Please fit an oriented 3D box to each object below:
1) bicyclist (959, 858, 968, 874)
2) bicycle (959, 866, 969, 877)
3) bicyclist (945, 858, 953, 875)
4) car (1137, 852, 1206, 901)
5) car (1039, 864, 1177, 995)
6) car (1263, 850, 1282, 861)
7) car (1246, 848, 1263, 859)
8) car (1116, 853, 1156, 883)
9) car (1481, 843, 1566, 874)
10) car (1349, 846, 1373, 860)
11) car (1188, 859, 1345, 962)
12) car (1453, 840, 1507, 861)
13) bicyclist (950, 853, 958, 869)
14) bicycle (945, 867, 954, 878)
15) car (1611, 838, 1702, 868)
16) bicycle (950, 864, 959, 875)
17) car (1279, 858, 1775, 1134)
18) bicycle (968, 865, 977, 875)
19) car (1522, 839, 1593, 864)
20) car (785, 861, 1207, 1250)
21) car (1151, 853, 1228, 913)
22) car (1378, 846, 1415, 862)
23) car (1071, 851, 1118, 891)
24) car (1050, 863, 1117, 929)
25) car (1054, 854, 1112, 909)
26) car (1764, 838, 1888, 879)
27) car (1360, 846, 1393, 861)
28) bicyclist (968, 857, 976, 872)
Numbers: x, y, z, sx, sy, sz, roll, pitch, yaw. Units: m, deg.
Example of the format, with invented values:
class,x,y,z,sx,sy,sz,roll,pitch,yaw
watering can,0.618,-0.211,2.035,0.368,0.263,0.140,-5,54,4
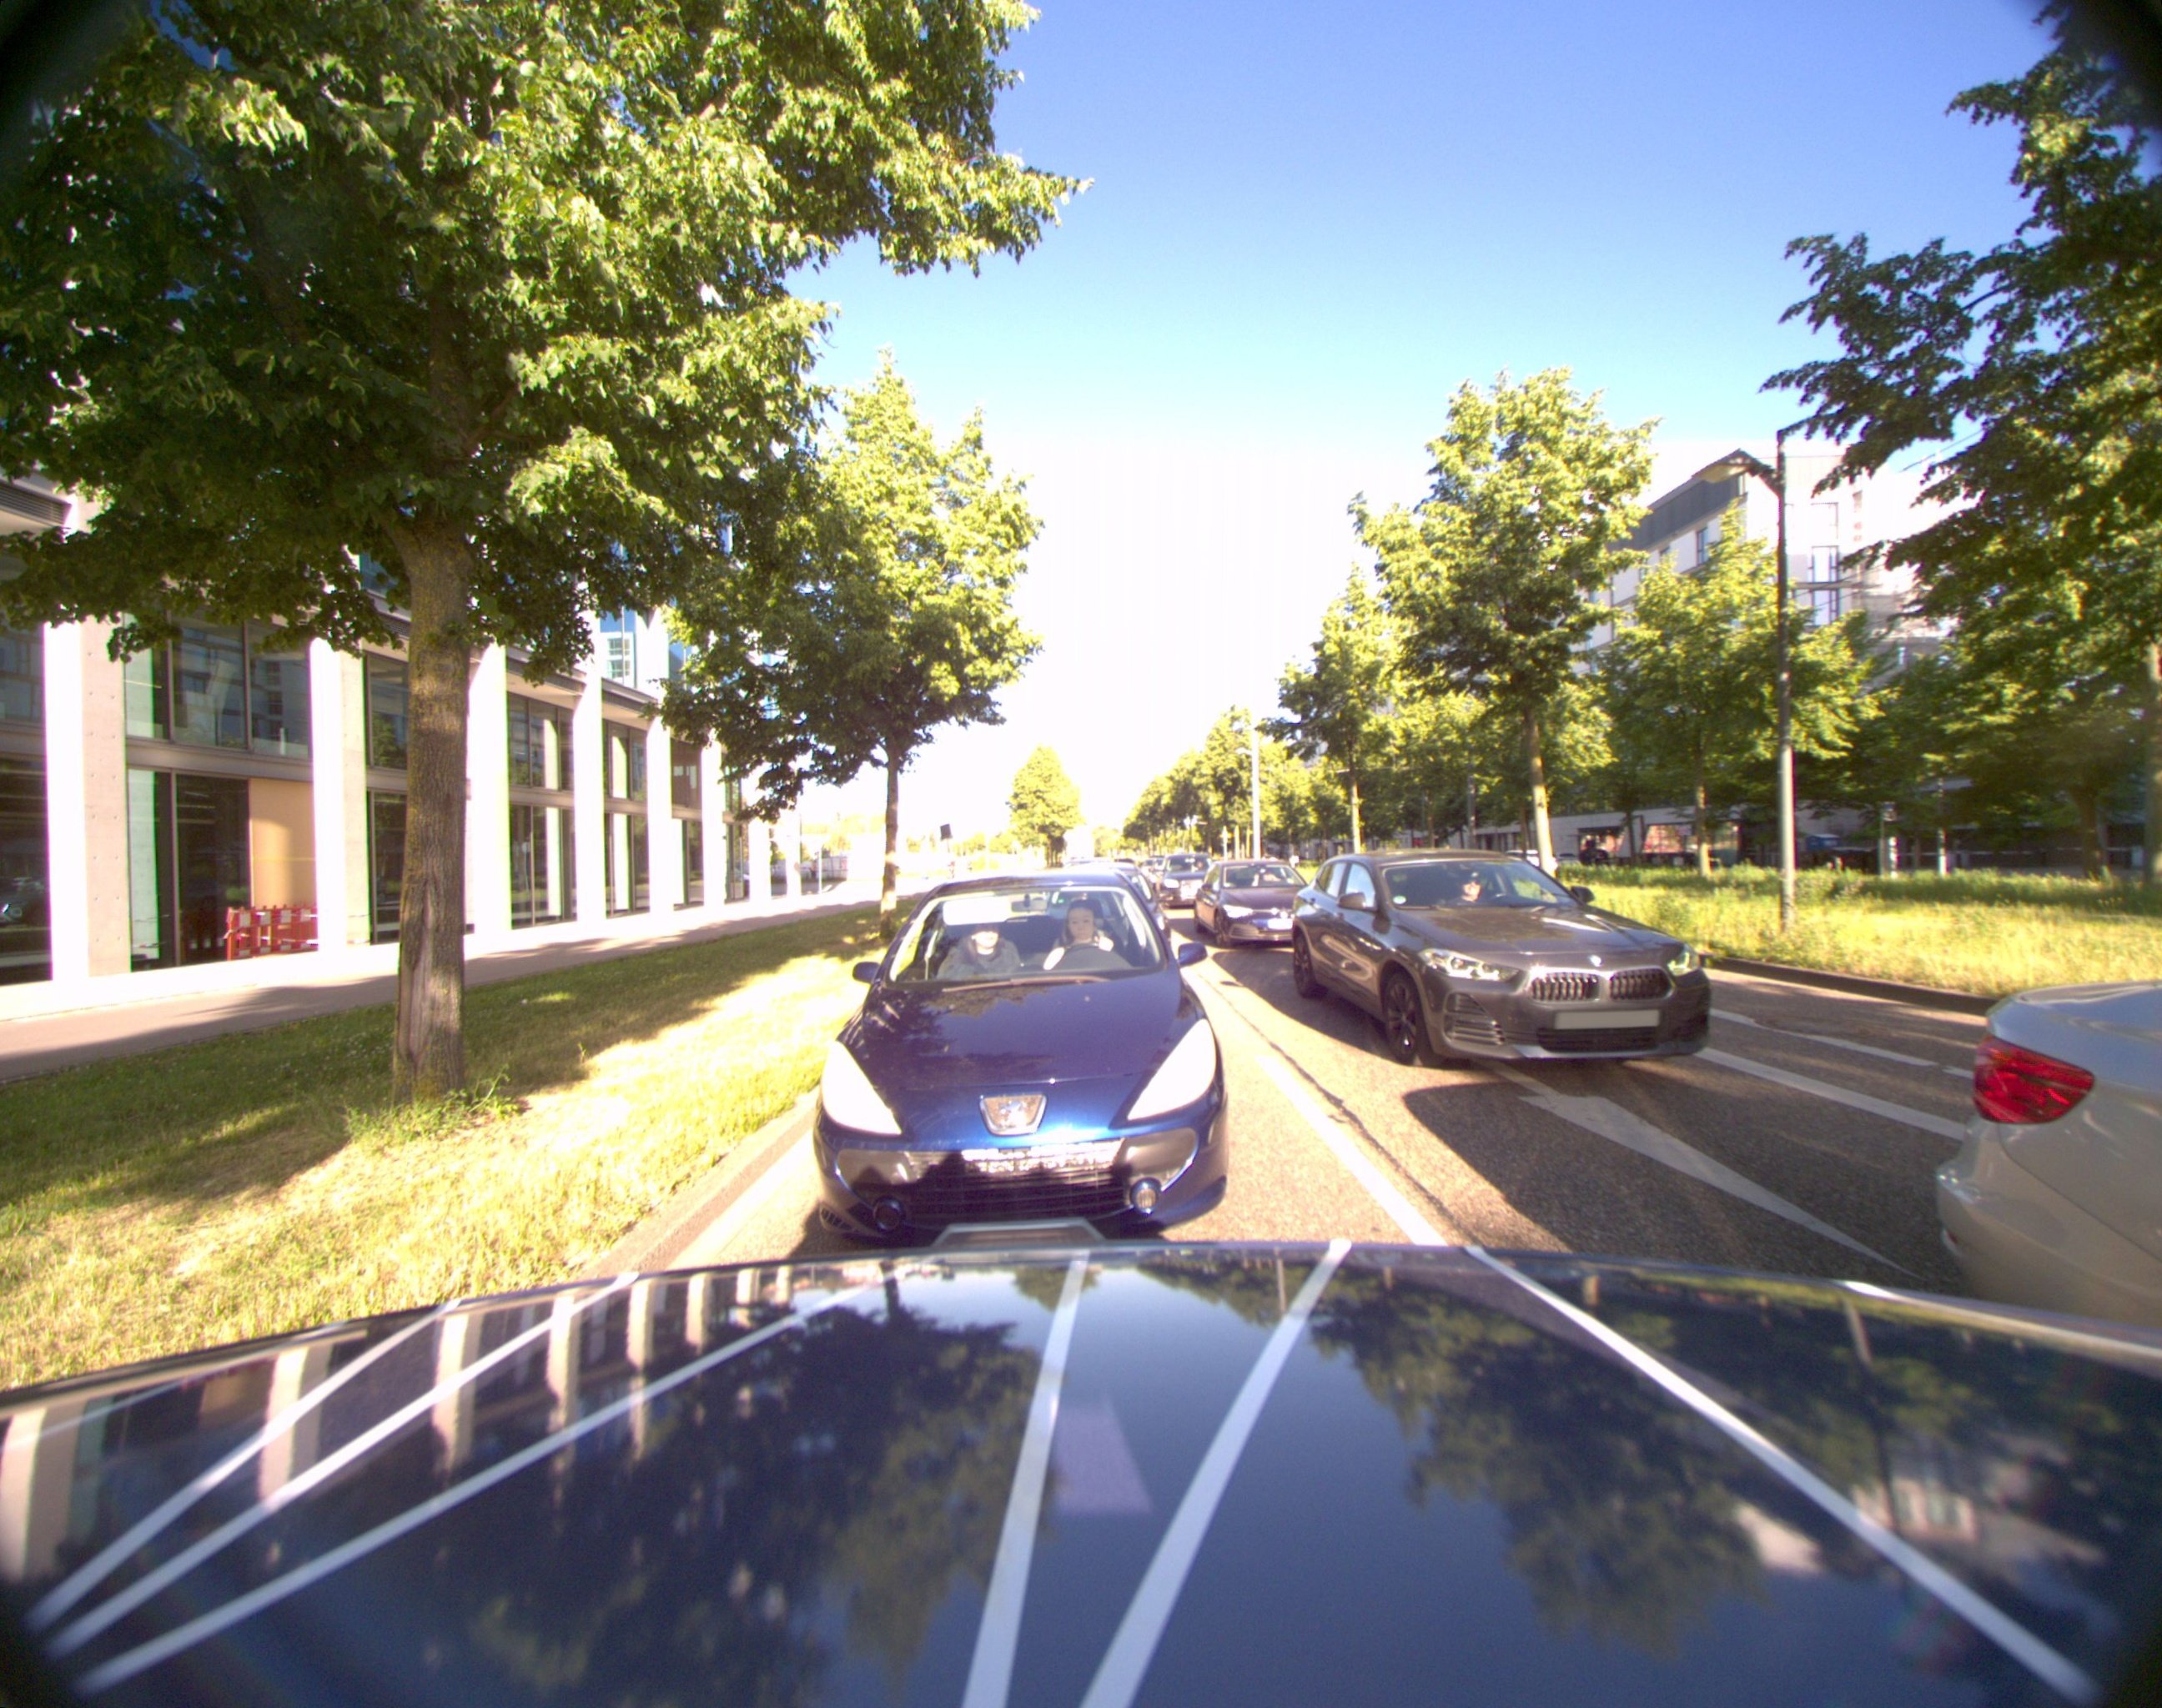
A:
class,x,y,z,sx,sy,sz,roll,pitch,yaw
bicyclist,-9.154,0.965,59.314,0.534,1.210,0.507,-2,1,1
bicycle,-9.135,1.387,59.350,0.464,0.813,1.344,-2,1,1
bicyclist,-10.222,0.974,58.955,0.448,1.282,0.418,-2,1,1
car,3.379,0.803,29.230,2.012,1.689,4.791,-1,0,-1
car,0.353,0.935,11.312,1.612,1.463,4.395,-1,0,1
car,26.460,0.169,104.954,1.666,1.384,4.000,-1,0,1
car,28.485,-0.039,124.839,1.858,1.719,4.792,-1,0,1
car,3.347,0.822,47.068,2.012,1.689,4.791,-1,0,-1
car,23.788,0.218,41.029,1.858,1.528,4.735,-1,0,1
car,34.708,-0.164,94.208,1.601,1.659,3.743,-1,0,1
car,3.047,0.849,13.378,1.812,1.445,4.254,-1,0,2
car,34.632,-0.275,66.072,2.012,1.689,4.791,-1,0,-3
bicyclist,-10.540,0.594,63.156,0.534,1.282,0.457,-2,1,1
bicycle,-10.191,1.432,59.014,0.415,0.813,1.320,-2,1,1
car,34.421,-0.043,45.610,1.858,1.674,4.792,-1,0,1
bicycle,-10.501,1.287,63.193,0.464,0.813,1.344,-2,1,1
car,3.082,0.829,6.370,1.812,1.513,4.029,-1,0,1
bicycle,-9.089,1.351,63.507,0.464,0.813,1.344,-2,1,1
car,34.834,-0.175,55.734,2.012,1.689,4.791,-1,0,-3
car,-0.322,0.843,4.997,1.686,1.513,3.785,-1,0,1
car,3.143,0.796,22.706,1.812,1.581,4.165,-1,0,2
car,34.667,-0.003,83.573,2.012,1.689,4.791,-1,0,-1
car,0.548,0.730,35.561,2.012,1.689,4.791,-1,0,-1
car,0.083,0.927,18.145,1.407,1.326,3.785,-1,0,1
car,0.088,0.837,24.691,1.705,1.591,3.785,-1,0,1
car,34.209,0.174,35.059,1.858,1.739,4.000,-1,0,1
car,34.699,-0.053,89.379,2.012,1.689,4.791,-1,0,-1
bicyclist,-9.118,0.879,63.606,0.534,1.282,0.521,-2,1,1
